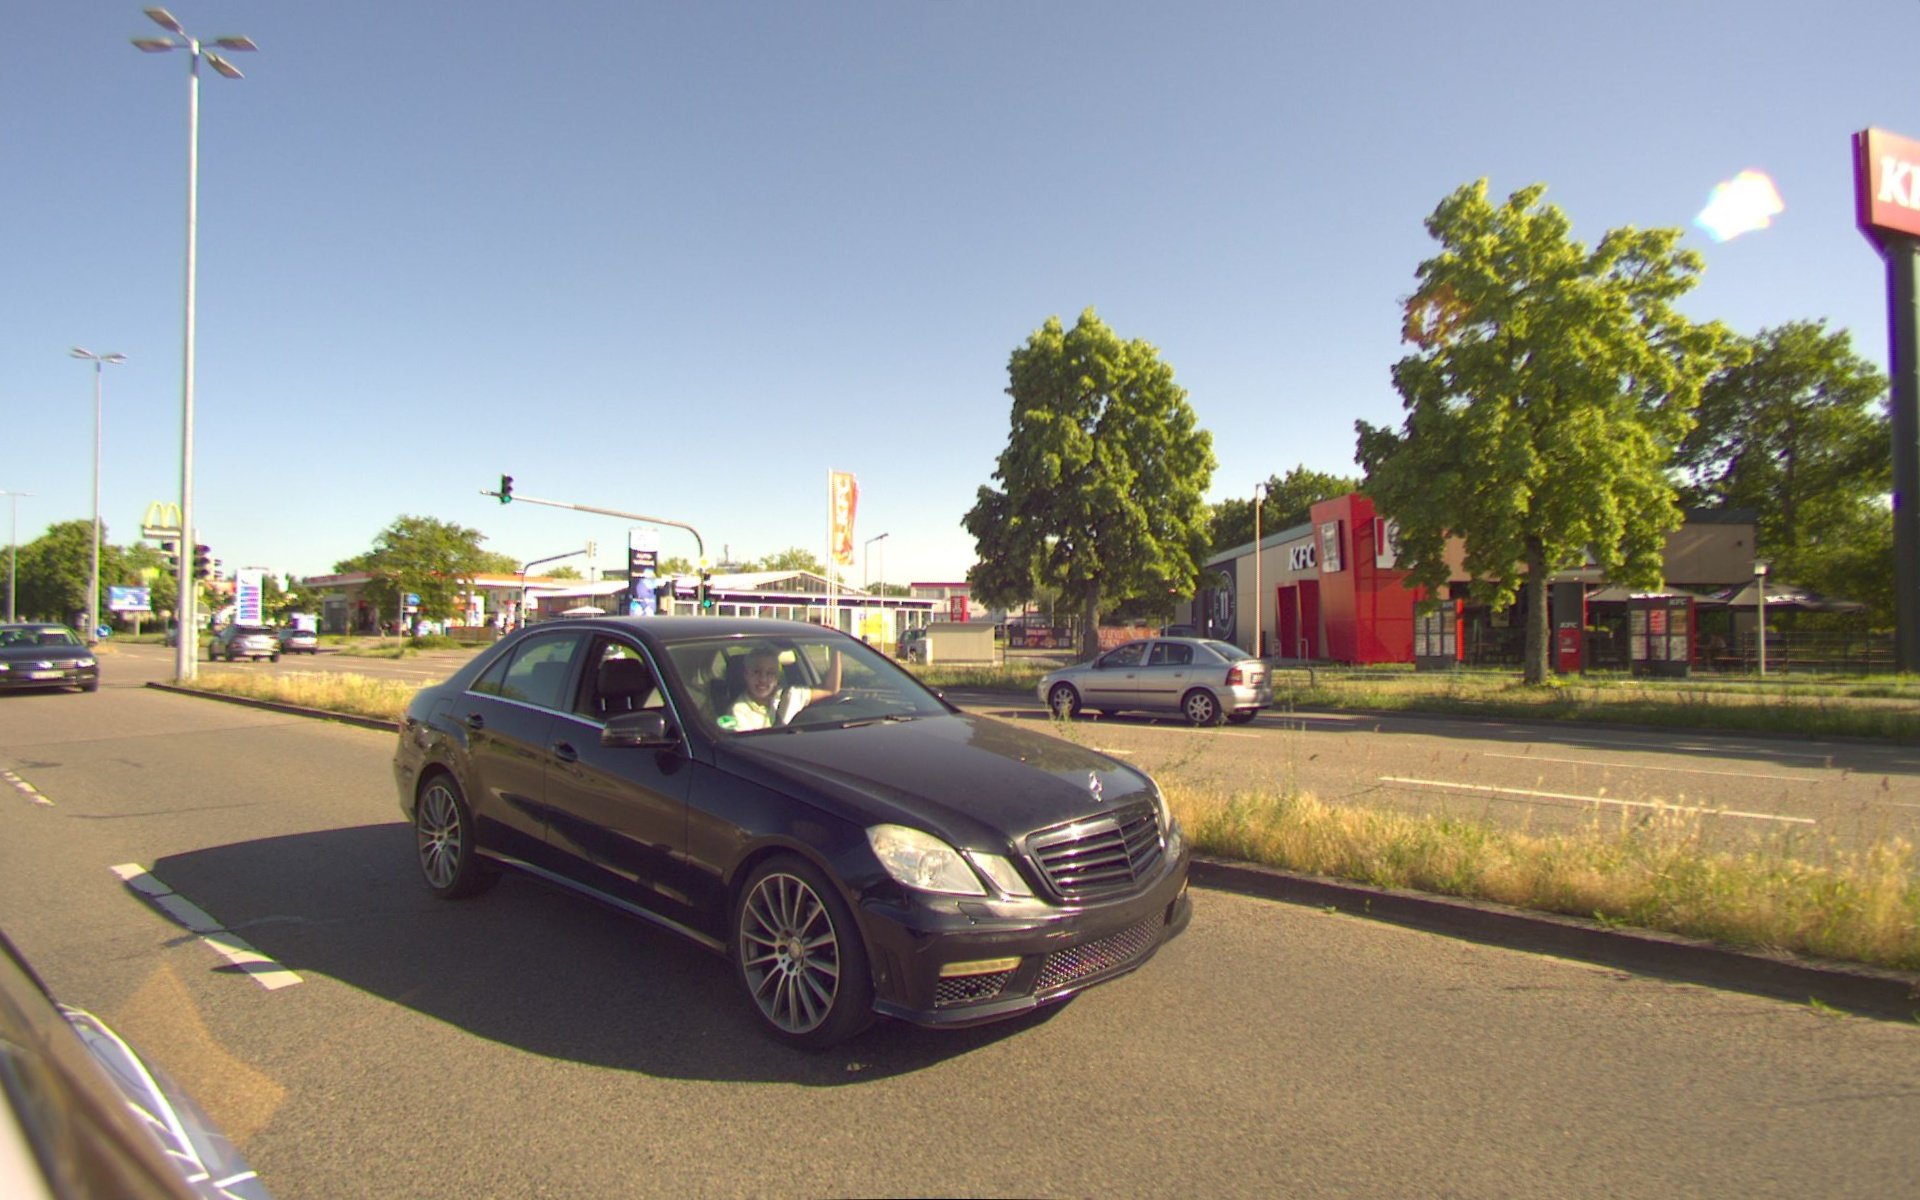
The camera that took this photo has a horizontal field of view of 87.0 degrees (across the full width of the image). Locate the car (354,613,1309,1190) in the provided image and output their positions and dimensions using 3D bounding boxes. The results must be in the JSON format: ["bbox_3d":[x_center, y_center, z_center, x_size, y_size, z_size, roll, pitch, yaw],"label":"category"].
[{"bbox_3d":[-1.061,0.847,5.012,4.916,1.494,1.938,-2,-2,42],"label":"car"}]

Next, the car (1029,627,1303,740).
[{"bbox_3d":[3.454,1.340,17.354,4.175,1.697,1.973,-1,-4,41],"label":"car"}]

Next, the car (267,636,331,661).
[{"bbox_3d":[-38.977,2.823,59.657,4.620,1.387,1.973,-1,-3,41],"label":"car"}]

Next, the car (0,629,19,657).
[{"bbox_3d":[-51.917,2.298,54.214,4.114,1.466,1.767,-2,-3,42],"label":"car"}]

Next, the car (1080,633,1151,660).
[{"bbox_3d":[9.584,2.870,62.561,3.940,1.530,1.885,-1,-1,-4],"label":"car"}]

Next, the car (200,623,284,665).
[{"bbox_3d":[-29.981,1.836,42.234,4.168,1.654,1.855,-1,-4,41],"label":"car"}]

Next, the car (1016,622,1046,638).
[{"bbox_3d":[10.019,4.252,142.444,4.063,2.109,1.900,1,-3,1],"label":"car"}]

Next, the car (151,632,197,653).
[{"bbox_3d":[-59.917,3.245,77.167,4.193,1.537,1.973,-2,-3,41],"label":"car"}]

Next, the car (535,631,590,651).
[{"bbox_3d":[-28.711,2.960,73.014,4.116,1.335,1.876,-1,-4,40],"label":"car"}]

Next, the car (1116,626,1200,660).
[{"bbox_3d":[10.321,2.236,52.891,3.940,1.762,1.885,0,-2,-4],"label":"car"}]

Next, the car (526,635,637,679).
[{"bbox_3d":[-13.729,2.020,36.616,4.193,1.485,1.973,-1,-3,41],"label":"car"}]

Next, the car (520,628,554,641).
[{"bbox_3d":[-47.573,3.861,113.821,4.116,1.451,1.750,-1,-2,40],"label":"car"}]

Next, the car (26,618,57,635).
[{"bbox_3d":[-96.104,2.782,105.892,4.265,1.612,1.875,-1,-4,42],"label":"car"}]

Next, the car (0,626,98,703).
[{"bbox_3d":[-19.657,1.296,21.218,4.264,1.464,1.824,-2,-2,42],"label":"car"}]

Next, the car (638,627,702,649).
[{"bbox_3d":[-21.081,2.774,73.716,1.900,1.443,4.063,-1,-4,41],"label":"car"}]

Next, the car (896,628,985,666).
[{"bbox_3d":[-0.945,2.191,47.315,4.073,1.674,1.896,-1,-1,-2],"label":"car"}]

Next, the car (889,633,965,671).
[{"bbox_3d":[-1.655,2.651,51.928,3.778,1.865,1.847,-1,-1,1],"label":"car"}]

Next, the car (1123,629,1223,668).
[{"bbox_3d":[9.785,2.206,46.701,4.181,1.674,1.896,-1,-1,-2],"label":"car"}]

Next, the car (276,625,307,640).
[{"bbox_3d":[-75.378,3.645,114.102,4.116,1.625,1.740,-1,-4,40],"label":"car"}]
